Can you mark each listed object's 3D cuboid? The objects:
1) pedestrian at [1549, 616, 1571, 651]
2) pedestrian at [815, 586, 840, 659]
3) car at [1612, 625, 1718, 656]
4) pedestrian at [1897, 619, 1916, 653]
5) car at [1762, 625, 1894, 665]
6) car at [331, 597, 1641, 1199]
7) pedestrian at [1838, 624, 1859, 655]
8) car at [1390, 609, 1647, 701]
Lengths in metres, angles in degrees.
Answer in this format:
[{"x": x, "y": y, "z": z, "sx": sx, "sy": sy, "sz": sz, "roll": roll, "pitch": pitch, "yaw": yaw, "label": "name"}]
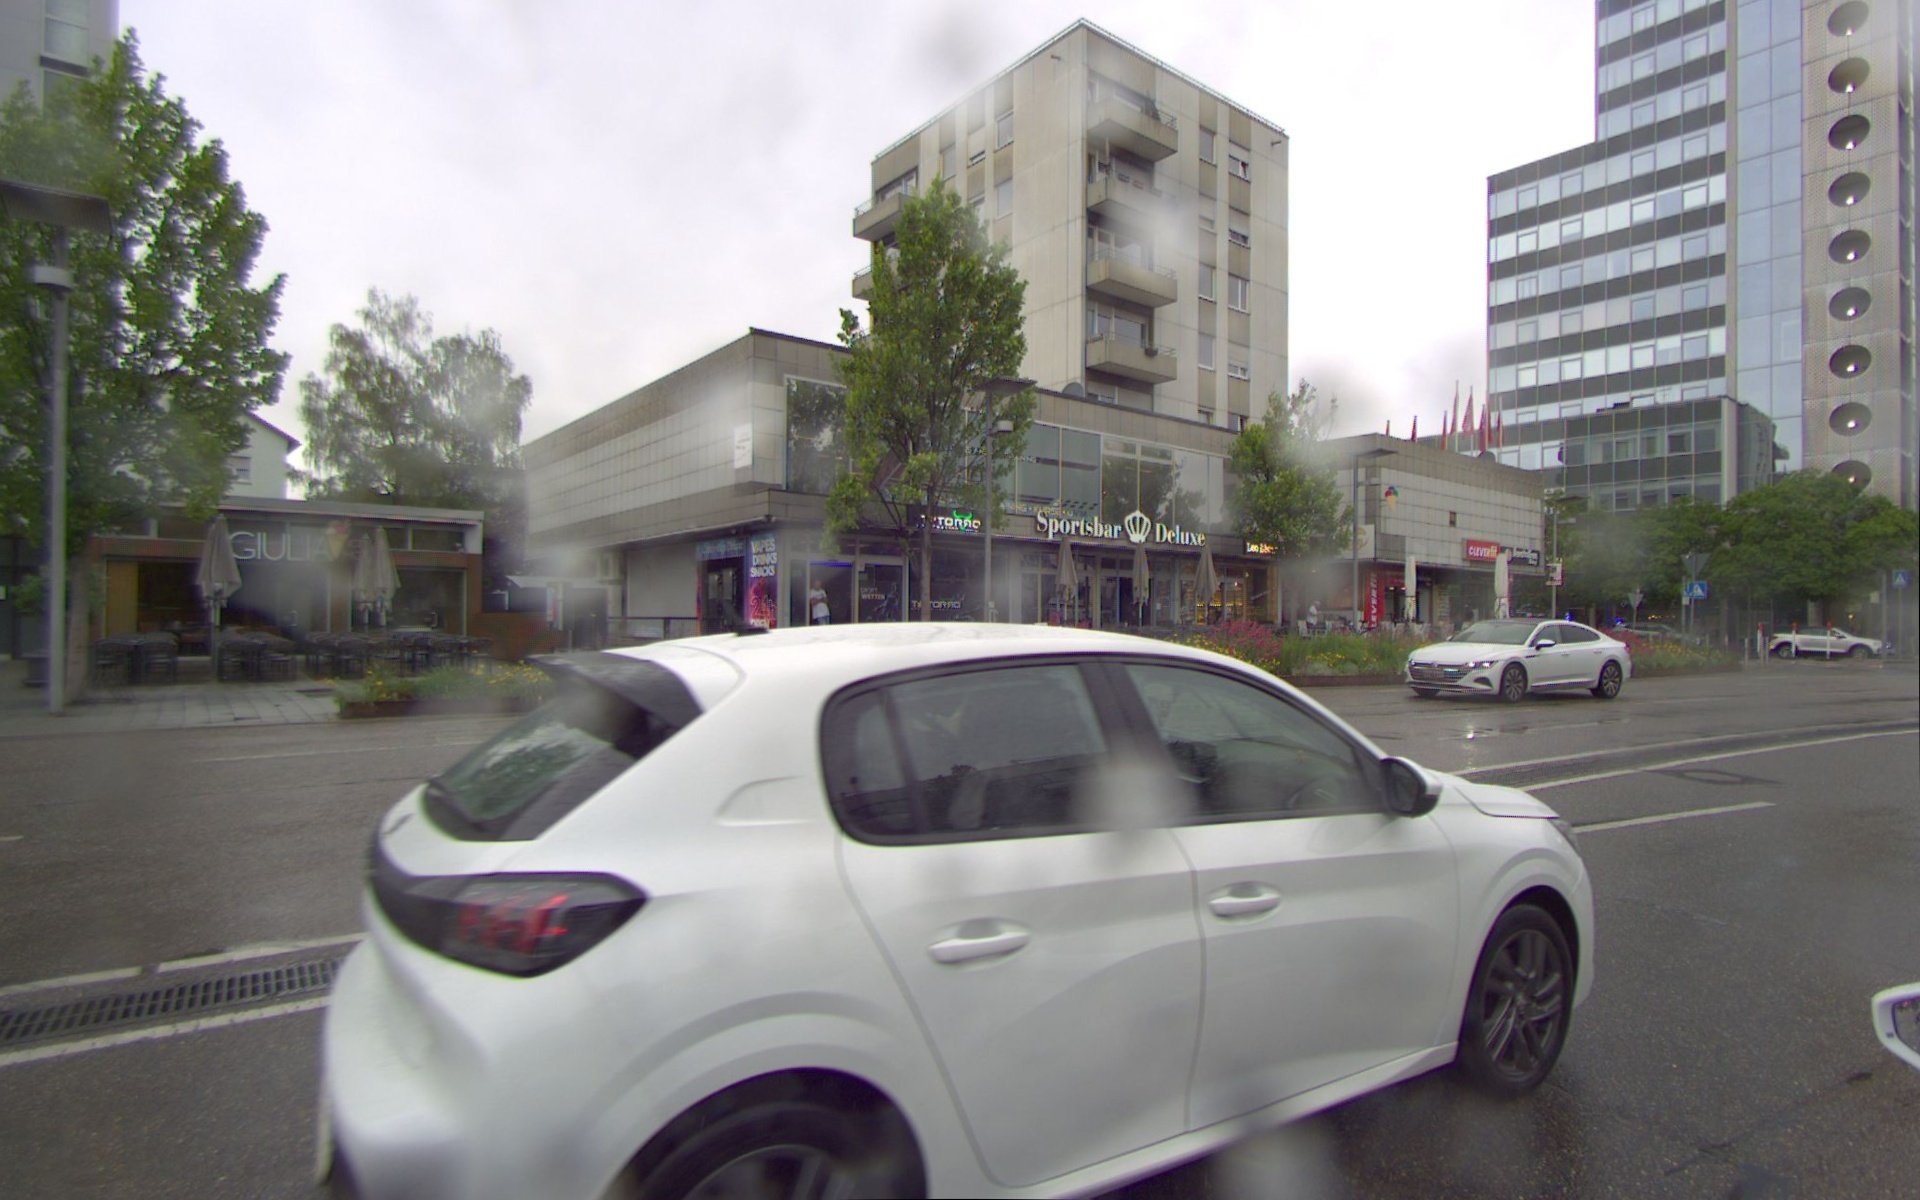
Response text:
[{"x": 23.278, "y": 1.290, "z": 38.975, "sx": 0.527, "sy": 1.365, "sz": 0.497, "roll": 1, "pitch": 0, "yaw": -3, "label": "pedestrian"}, {"x": -3.444, "y": 0.585, "z": 26.098, "sx": 0.495, "sy": 1.873, "sz": 0.424, "roll": 1, "pitch": 0, "yaw": -28, "label": "pedestrian"}, {"x": 35.672, "y": 2.040, "z": 50.910, "sx": 1.850, "sy": 1.439, "sz": 4.023, "roll": 1, "pitch": -1, "yaw": -32, "label": "car"}, {"x": 57.602, "y": 2.194, "z": 61.140, "sx": 0.709, "sy": 2.040, "sz": 0.756, "roll": 1, "pitch": -1, "yaw": -42, "label": "pedestrian"}, {"x": 38.847, "y": 1.970, "z": 45.050, "sx": 1.850, "sy": 1.616, "sz": 4.167, "roll": 1, "pitch": 0, "yaw": -33, "label": "car"}, {"x": 0.263, "y": 0.770, "z": 3.216, "sx": 3.832, "sy": 1.481, "sz": 1.861, "roll": 1, "pitch": 0, "yaw": -33, "label": "car"}, {"x": 55.462, "y": 2.461, "z": 62.714, "sx": 0.739, "sy": 1.892, "sz": 0.833, "roll": 0, "pitch": -1, "yaw": 24, "label": "pedestrian"}, {"x": 10.244, "y": 0.950, "z": 18.362, "sx": 4.748, "sy": 1.480, "sz": 1.835, "roll": 1, "pitch": 0, "yaw": -28, "label": "car"}]
